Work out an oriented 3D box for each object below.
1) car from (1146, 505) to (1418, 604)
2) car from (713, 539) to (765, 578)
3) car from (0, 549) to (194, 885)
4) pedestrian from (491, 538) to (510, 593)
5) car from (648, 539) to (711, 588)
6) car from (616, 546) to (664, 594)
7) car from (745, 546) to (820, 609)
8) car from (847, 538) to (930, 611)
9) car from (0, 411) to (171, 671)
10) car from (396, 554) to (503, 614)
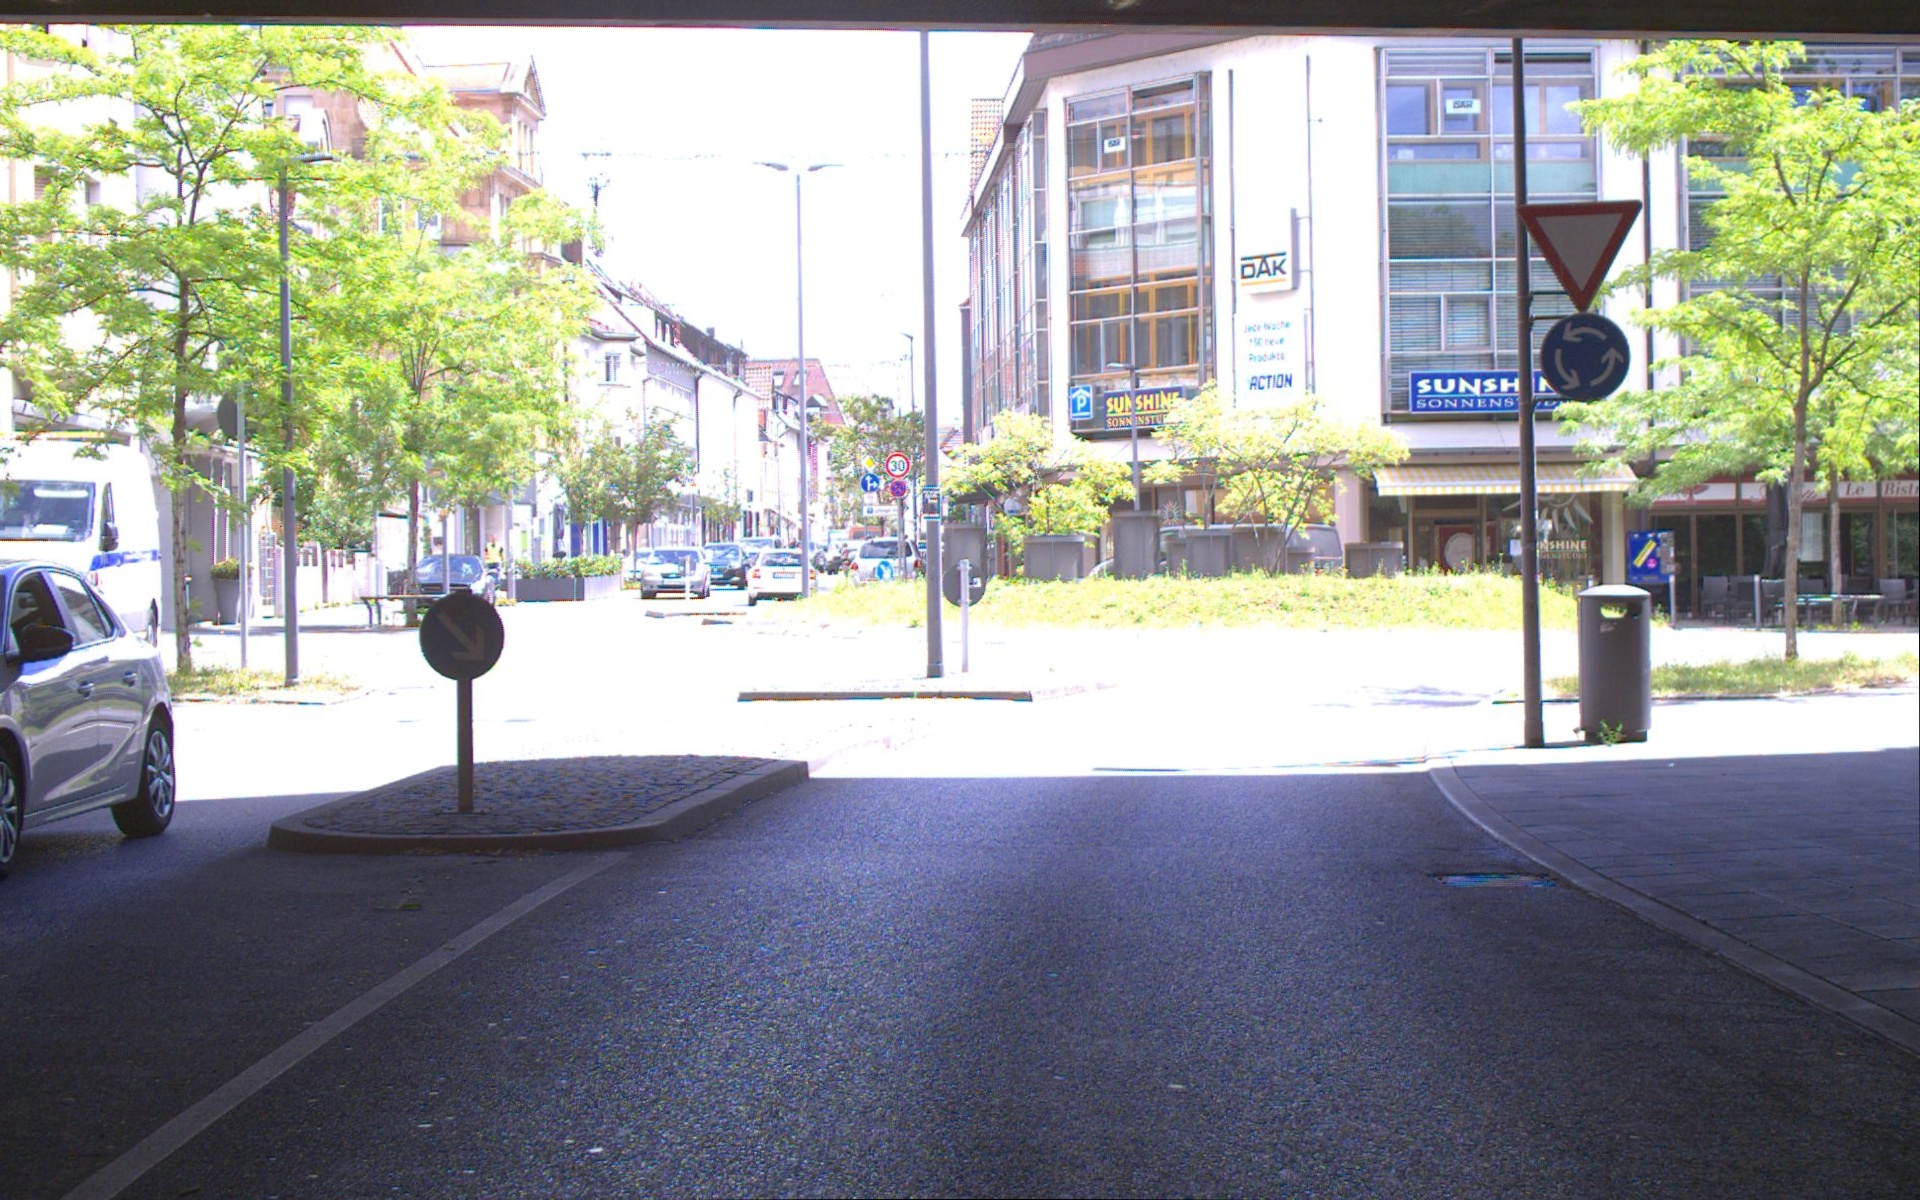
[{"bbox_3d":[5.667,-0.817,60.974,1.994,1.682,4.691,-1,1,-42],"label":"car"},{"bbox_3d":[-7.824,-1.492,121.493,1.709,1.349,4.001,0,1,-5],"label":"car"},{"bbox_3d":[-4.967,0.519,16.059,1.671,1.442,3.852,-2,1,3],"label":"car"},{"bbox_3d":[-13.939,-1.048,104.369,0.551,1.680,0.516,0,1,-5],"label":"pedestrian"},{"bbox_3d":[-7.909,-1.046,96.759,1.709,1.349,4.001,0,1,-5],"label":"car"},{"bbox_3d":[-11.691,-1.119,125.545,1.709,1.706,4.001,0,1,-5],"label":"car"},{"bbox_3d":[-4.464,-0.574,86.492,1.824,1.514,4.233,-1,0,-3],"label":"car"},{"bbox_3d":[-1.744,-0.638,84.992,1.824,1.725,4.233,-1,0,2],"label":"car"},{"bbox_3d":[-9.984,-0.648,37.508,1.967,2.598,5.932,1,1,-6],"label":"car"},{"bbox_3d":[-11.119,-0.371,75.107,1.709,1.241,4.411,0,1,0],"label":"car"}]
